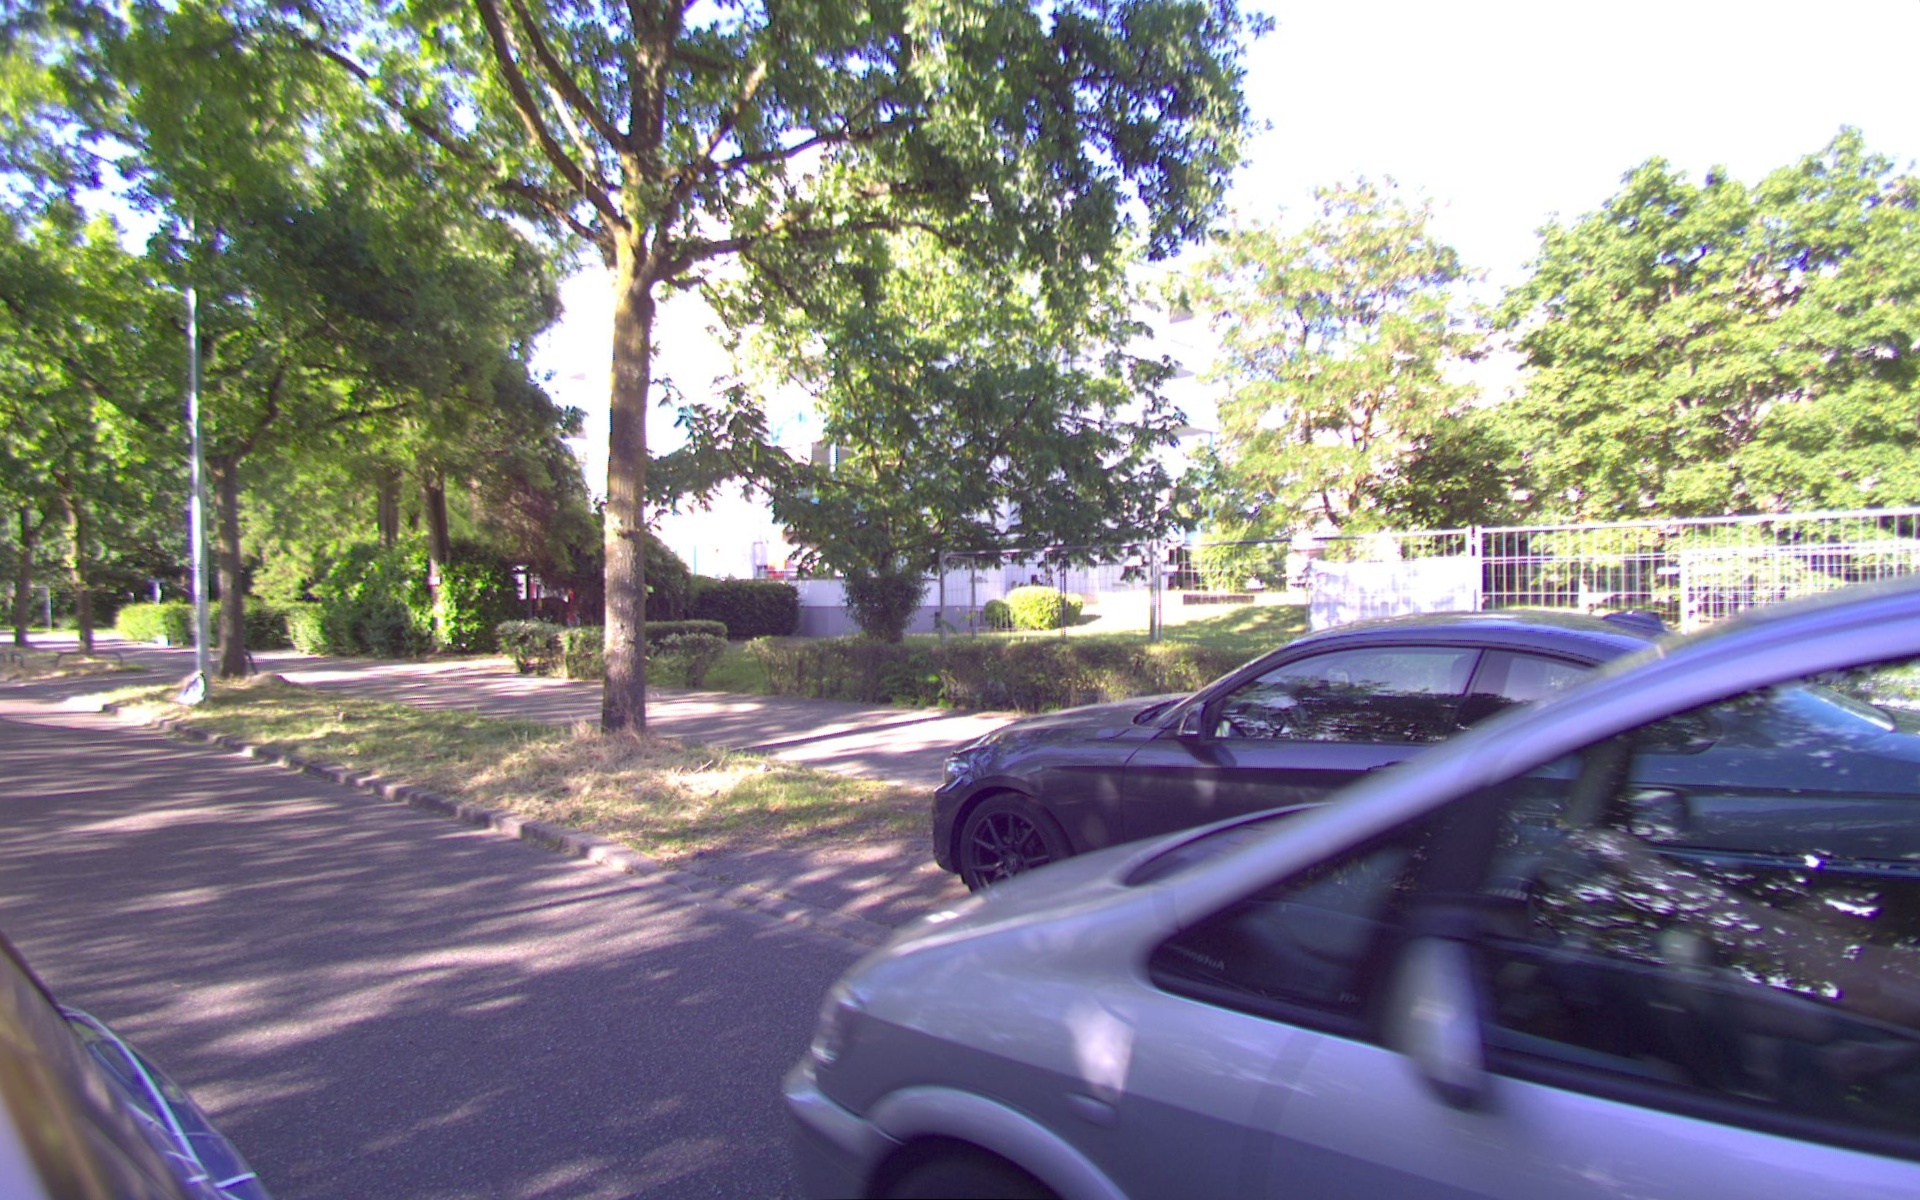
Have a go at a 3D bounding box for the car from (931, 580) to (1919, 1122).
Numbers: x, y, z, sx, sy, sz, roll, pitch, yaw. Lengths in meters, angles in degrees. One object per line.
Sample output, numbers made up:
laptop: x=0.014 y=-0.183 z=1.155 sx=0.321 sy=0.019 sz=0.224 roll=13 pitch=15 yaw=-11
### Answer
car: x=2.019 y=0.697 z=4.286 sx=4.131 sy=1.443 sz=1.700 roll=-1 pitch=1 yaw=38

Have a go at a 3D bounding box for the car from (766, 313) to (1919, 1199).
car: x=1.703 y=0.581 z=1.127 sx=4.006 sy=1.608 sz=1.642 roll=-1 pitch=-2 yaw=41
